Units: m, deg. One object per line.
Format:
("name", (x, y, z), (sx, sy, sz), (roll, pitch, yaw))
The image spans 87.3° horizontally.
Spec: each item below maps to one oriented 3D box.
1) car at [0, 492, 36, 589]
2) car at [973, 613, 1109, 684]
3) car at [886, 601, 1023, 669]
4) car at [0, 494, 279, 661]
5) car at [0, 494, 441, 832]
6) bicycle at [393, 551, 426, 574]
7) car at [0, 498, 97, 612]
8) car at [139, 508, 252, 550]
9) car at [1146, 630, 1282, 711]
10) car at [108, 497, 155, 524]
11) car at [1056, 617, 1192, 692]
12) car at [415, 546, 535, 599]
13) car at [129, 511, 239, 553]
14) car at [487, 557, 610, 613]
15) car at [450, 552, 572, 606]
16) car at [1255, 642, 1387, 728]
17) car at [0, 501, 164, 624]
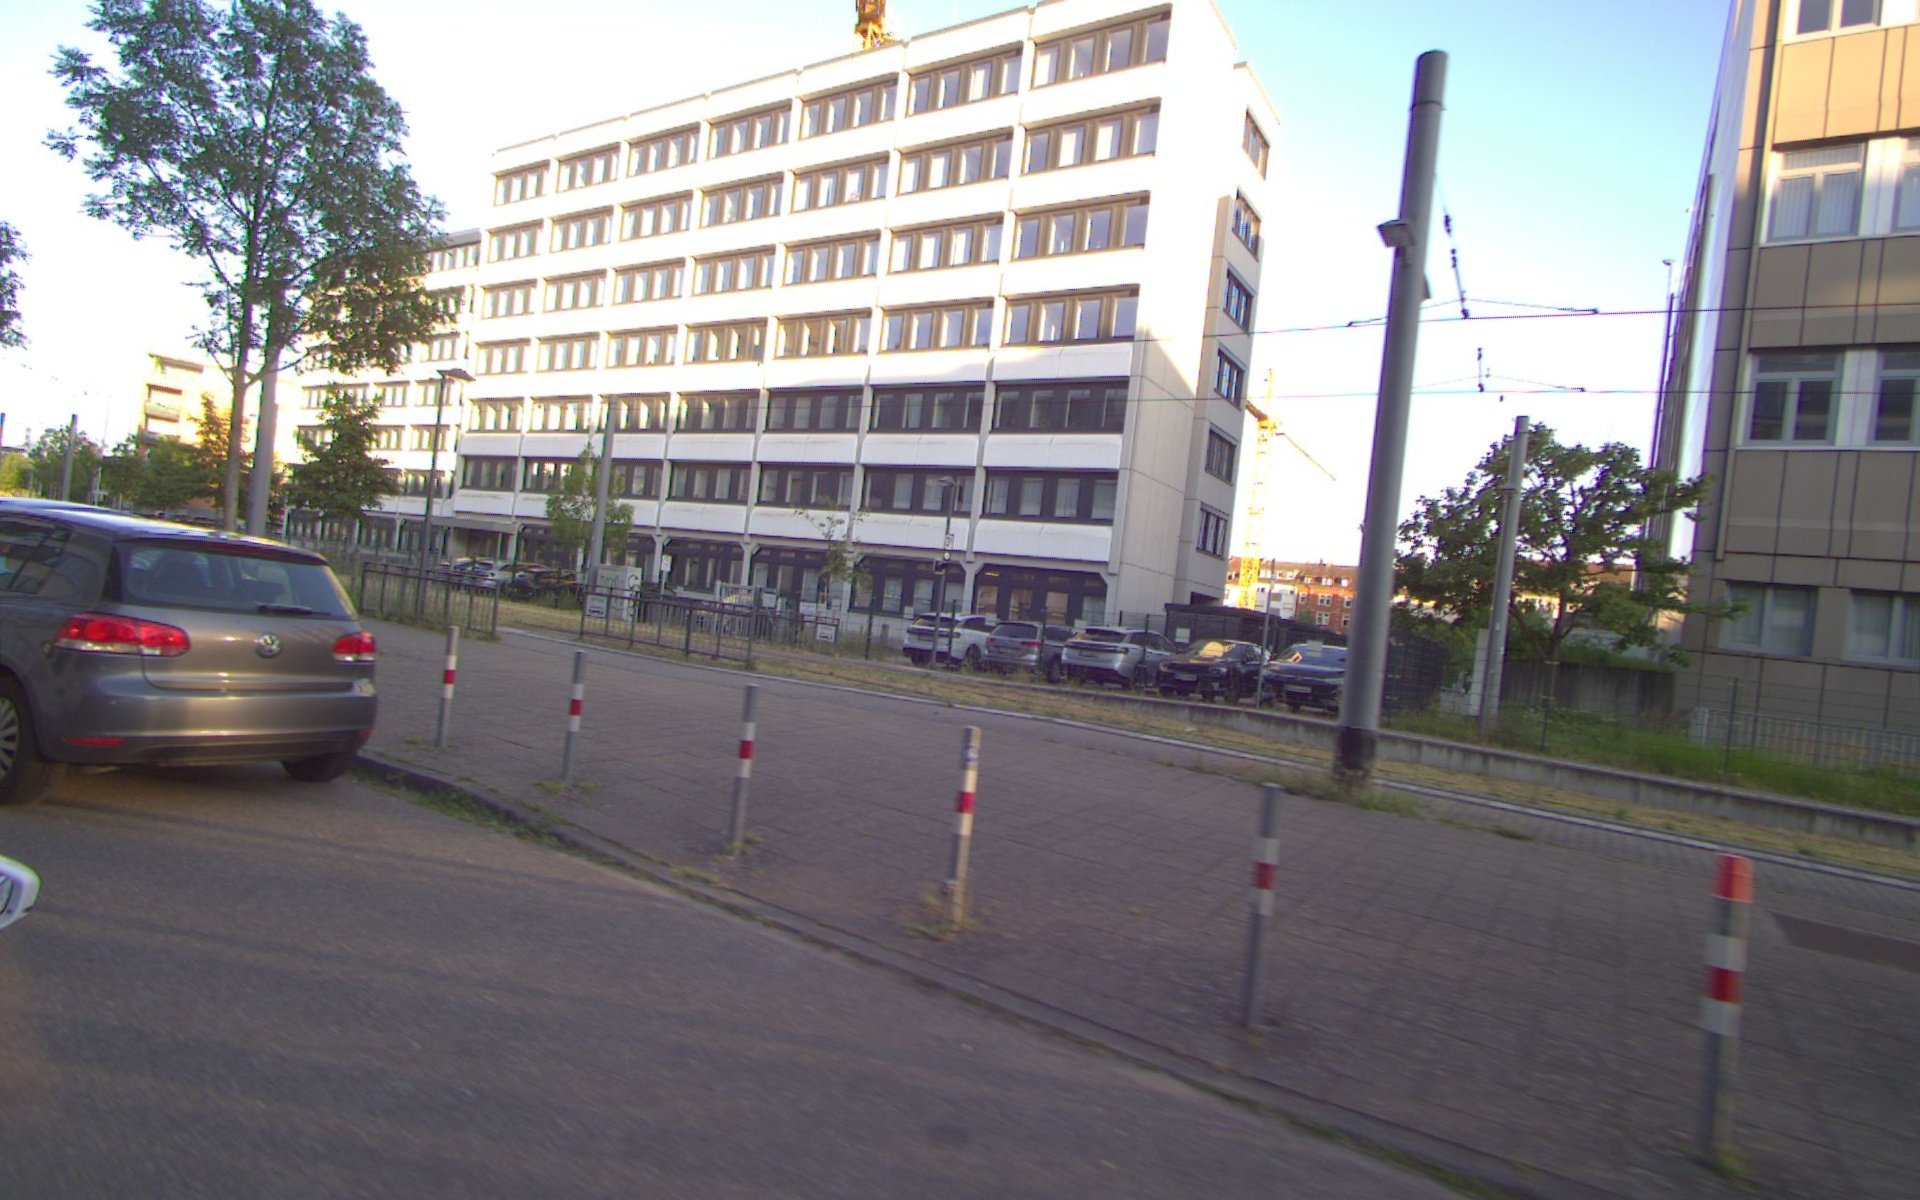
("car", (-18.821, -1.308, 17.059), (1.837, 1.769, 4.606), (8, -2, 0))
("car", (2.154, 1.231, 25.790), (1.648, 1.506, 3.986), (7, 2, 34))
("car", (-0.061, 0.965, 27.533), (1.794, 1.533, 3.989), (7, 1, 32))
("car", (-9.796, -0.291, 11.055), (1.892, 1.539, 3.998), (5, 0, -2))
("car", (-5.388, 0.200, 6.154), (3.928, 1.482, 1.738), (6, -3, 24))
("bicycle", (-37.259, -2.533, 68.112), (2.393, 1.214, 0.830), (7, -3, 34))
("car", (-14.831, -0.804, 14.234), (1.705, 1.612, 4.002), (7, -3, -2))
("car", (-41.598, -3.831, 54.830), (1.666, 1.621, 4.500), (7, -1, 33))
("car", (5.915, 1.564, 23.106), (1.648, 1.506, 3.986), (7, 2, 34))
("car", (-102.986, -11.120, 125.072), (4.129, 2.616, 1.687), (7, 0, -35))
("car", (4.074, 1.303, 24.520), (1.648, 1.506, 3.986), (7, 2, 34))
("car", (-19.322, -1.074, 40.273), (1.565, 1.413, 3.997), (7, -3, 32))
("car", (-43.457, -3.779, 56.423), (1.666, 1.621, 4.500), (7, -1, 33))
("car", (-15.354, -0.528, 37.701), (1.565, 1.413, 3.997), (7, -3, 32))
("car", (-17.251, -0.790, 38.829), (1.565, 1.413, 3.997), (7, -3, 32))
("car", (7.919, 1.768, 21.860), (1.648, 1.506, 3.986), (7, 2, 34))
("car", (-12.535, -0.547, 12.813), (1.706, 1.483, 3.998), (7, -1, -4))
